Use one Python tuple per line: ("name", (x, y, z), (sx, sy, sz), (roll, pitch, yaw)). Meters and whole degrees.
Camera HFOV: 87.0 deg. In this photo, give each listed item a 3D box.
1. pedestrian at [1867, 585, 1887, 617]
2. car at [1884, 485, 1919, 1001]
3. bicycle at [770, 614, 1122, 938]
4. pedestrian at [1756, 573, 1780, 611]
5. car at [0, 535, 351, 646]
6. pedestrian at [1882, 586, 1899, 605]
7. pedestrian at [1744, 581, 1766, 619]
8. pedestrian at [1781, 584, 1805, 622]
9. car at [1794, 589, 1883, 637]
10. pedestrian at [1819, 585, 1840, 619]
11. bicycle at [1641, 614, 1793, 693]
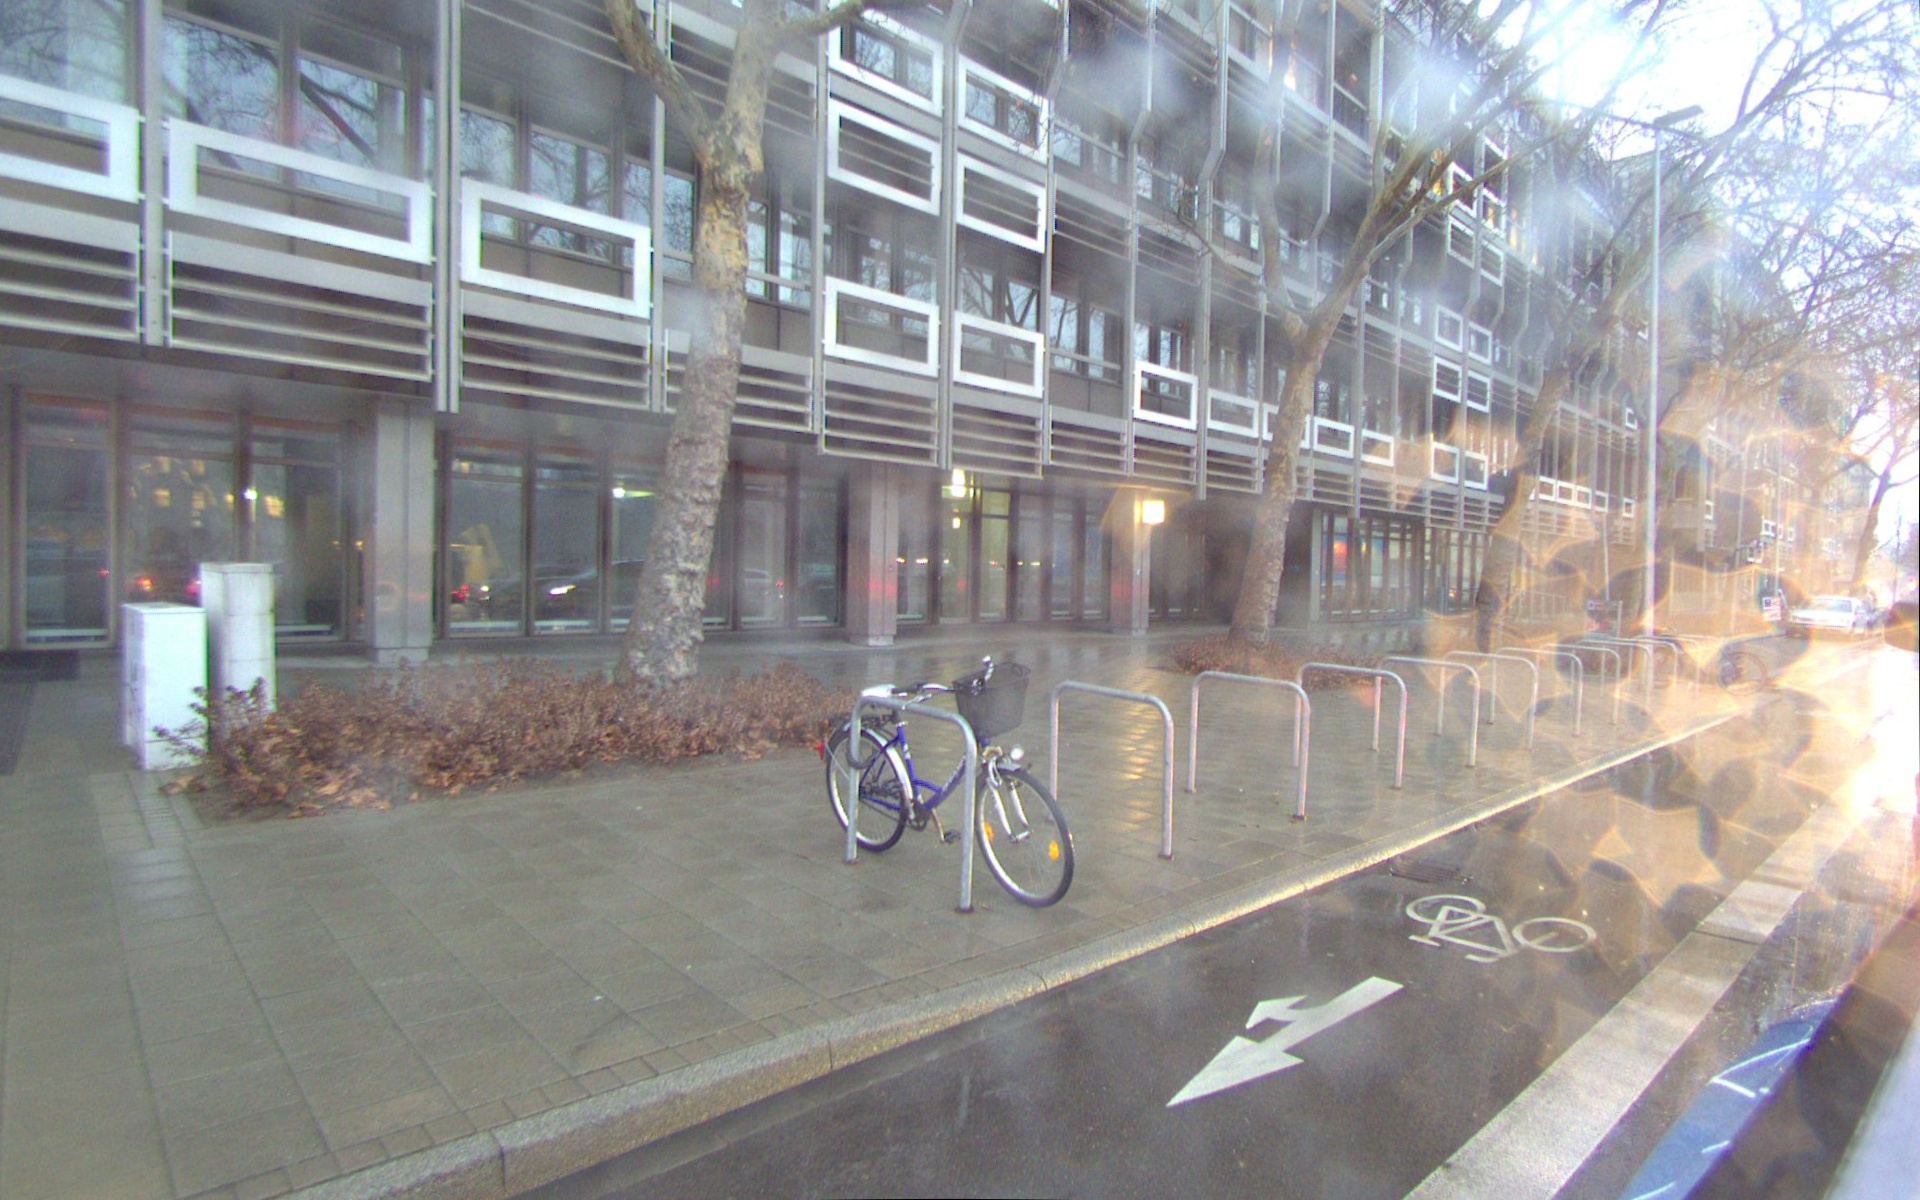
("pedestrian", (52.474, 0.041, 57.927), (0.765, 1.771, 0.913), (2, 2, 45))
("car", (5.490, 0.501, 4.336), (3.931, 1.864, 1.876), (-1, 0, -42))
("bicycle", (-0.151, 0.709, 4.868), (0.629, 1.145, 1.810), (2, 2, -41))
("pedestrian", (47.111, -0.460, 59.005), (1.056, 2.222, 1.096), (0, 0, 38))
("car", (-10.810, -0.169, 13.930), (3.929, 1.326, 1.998), (0, 3, -40))
("pedestrian", (65.331, -0.306, 71.066), (0.738, 1.354, 0.781), (0, 0, -41))
("pedestrian", (42.610, -0.017, 54.238), (0.912, 2.004, 0.699), (0, 2, -41))
("pedestrian", (39.313, 0.136, 47.777), (0.765, 1.771, 0.913), (2, 2, 45))
("car", (29.394, 0.397, 33.841), (3.930, 1.482, 1.711), (-1, 1, -41))
("pedestrian", (46.424, 0.111, 54.030), (0.765, 1.771, 0.913), (2, 2, 45))
("bicycle", (11.634, 0.794, 15.593), (0.864, 1.004, 1.704), (0, 4, -41))
